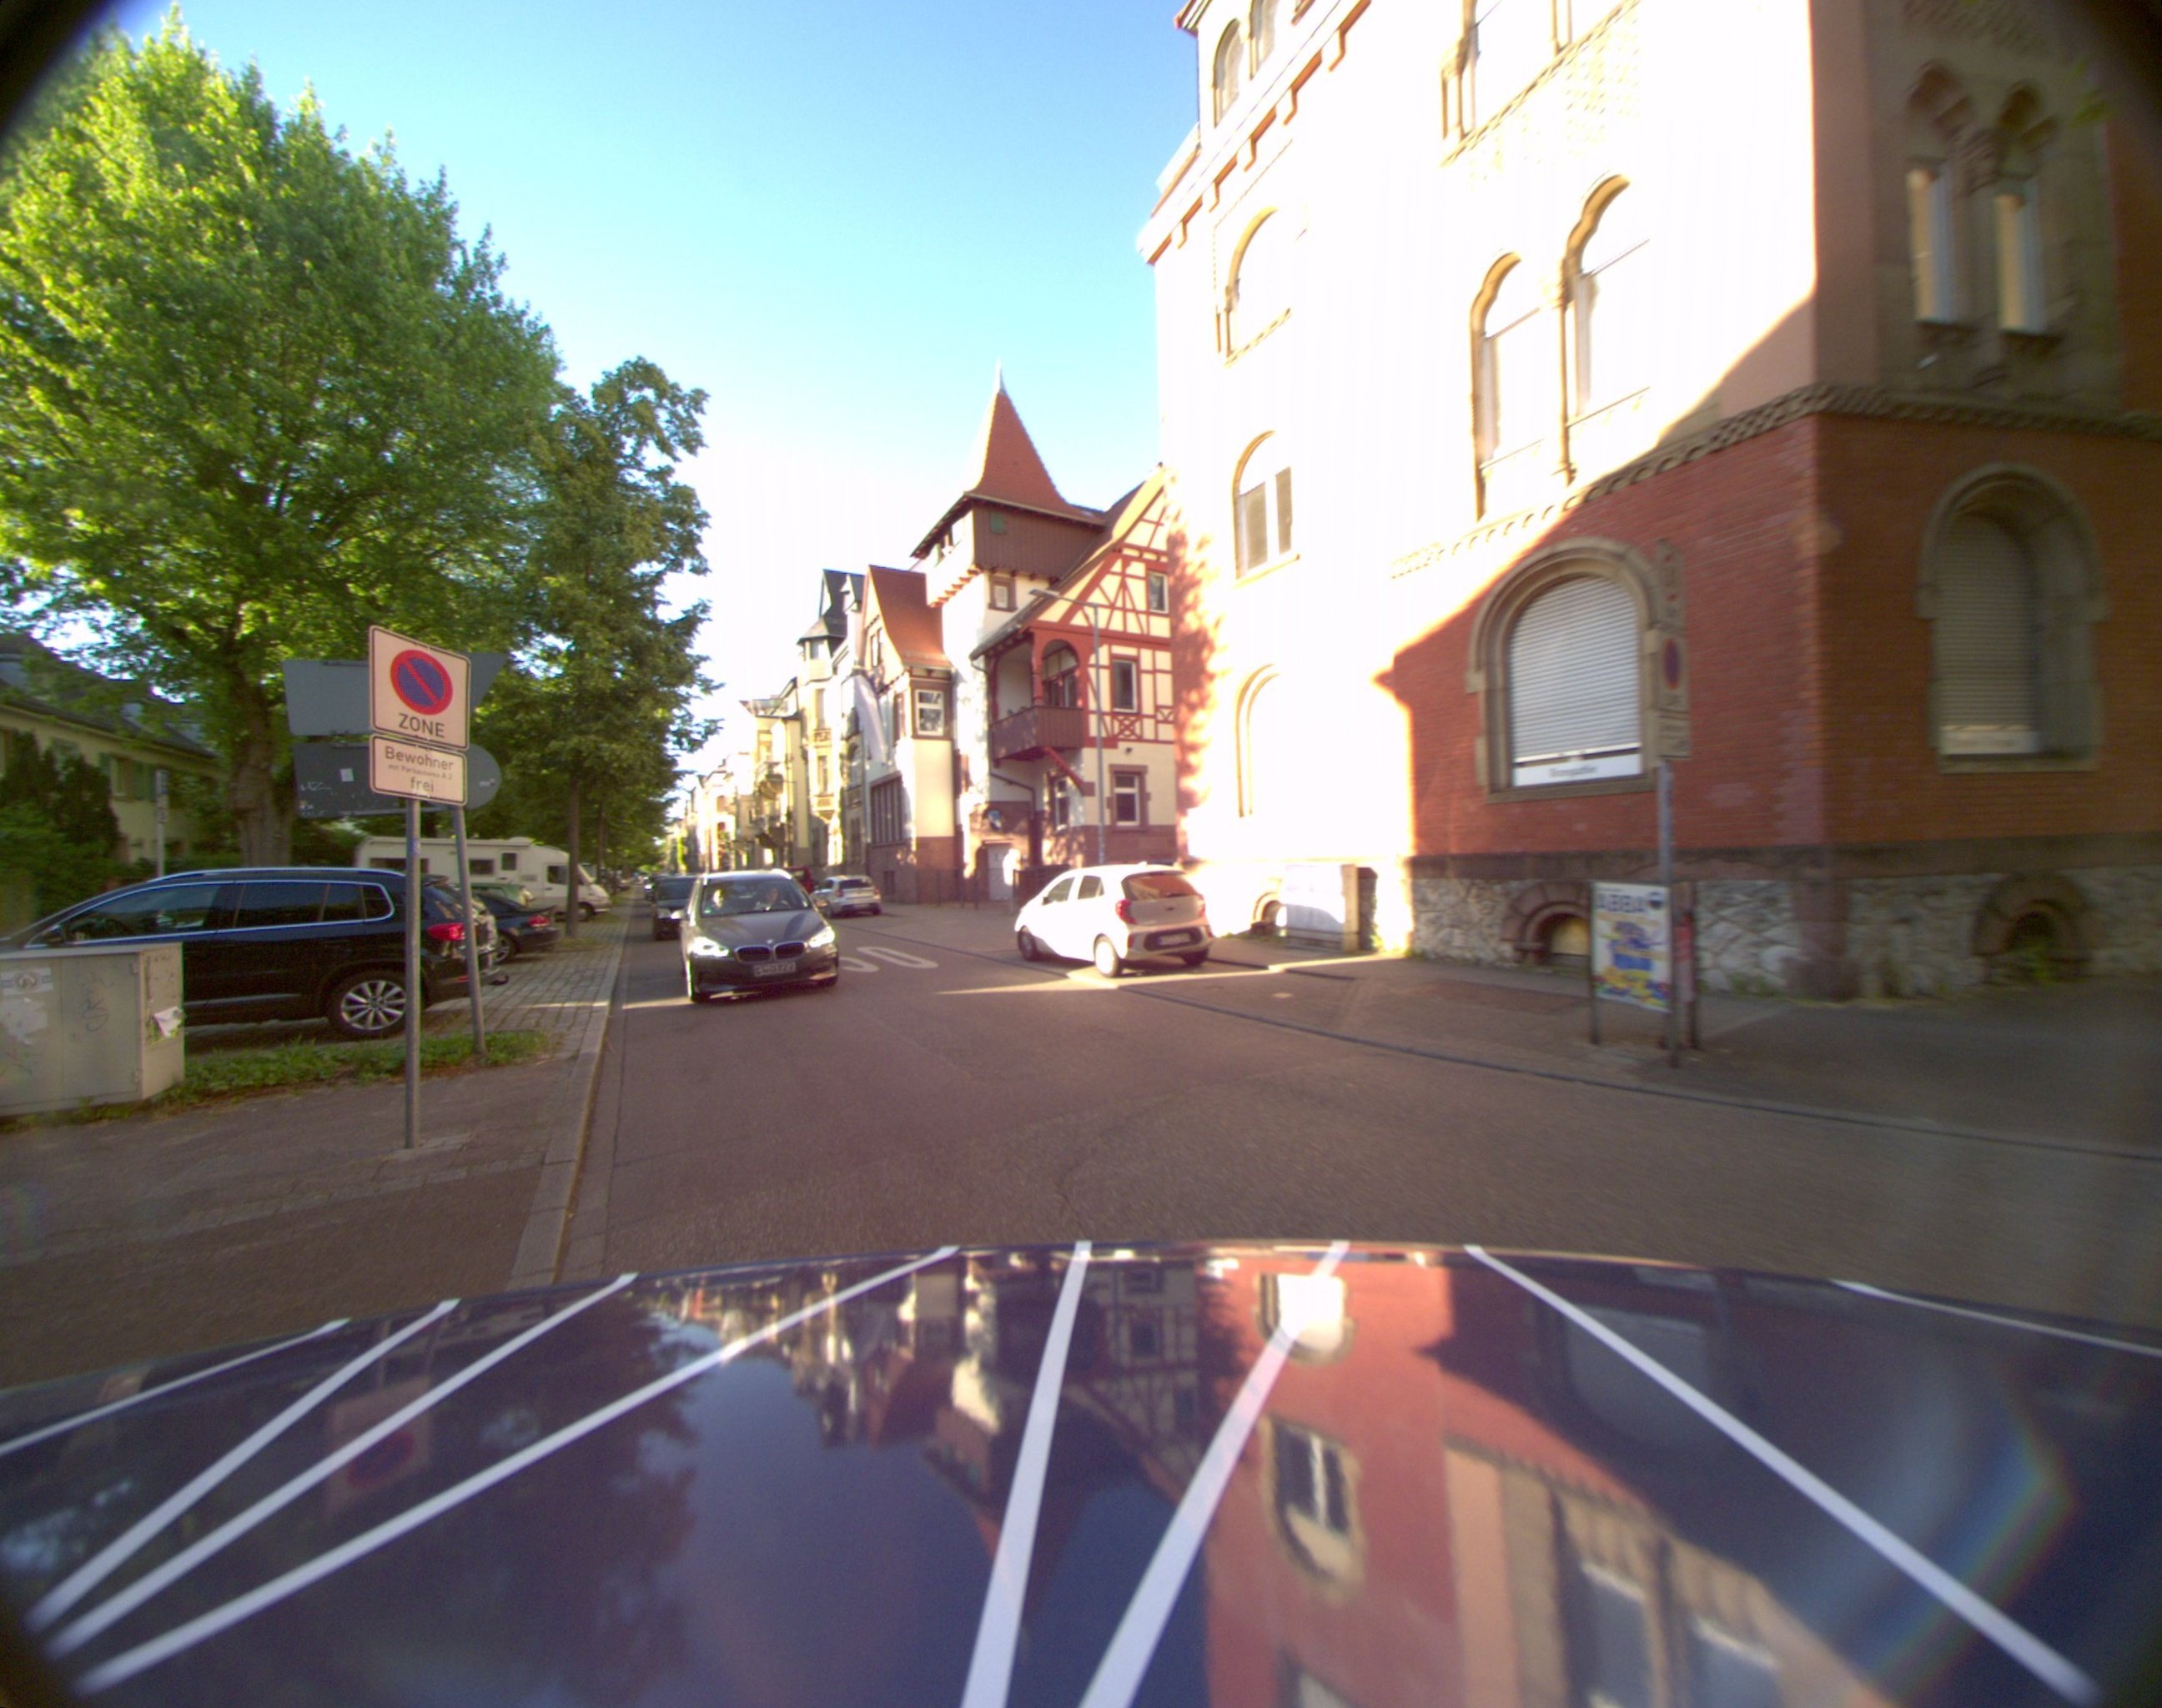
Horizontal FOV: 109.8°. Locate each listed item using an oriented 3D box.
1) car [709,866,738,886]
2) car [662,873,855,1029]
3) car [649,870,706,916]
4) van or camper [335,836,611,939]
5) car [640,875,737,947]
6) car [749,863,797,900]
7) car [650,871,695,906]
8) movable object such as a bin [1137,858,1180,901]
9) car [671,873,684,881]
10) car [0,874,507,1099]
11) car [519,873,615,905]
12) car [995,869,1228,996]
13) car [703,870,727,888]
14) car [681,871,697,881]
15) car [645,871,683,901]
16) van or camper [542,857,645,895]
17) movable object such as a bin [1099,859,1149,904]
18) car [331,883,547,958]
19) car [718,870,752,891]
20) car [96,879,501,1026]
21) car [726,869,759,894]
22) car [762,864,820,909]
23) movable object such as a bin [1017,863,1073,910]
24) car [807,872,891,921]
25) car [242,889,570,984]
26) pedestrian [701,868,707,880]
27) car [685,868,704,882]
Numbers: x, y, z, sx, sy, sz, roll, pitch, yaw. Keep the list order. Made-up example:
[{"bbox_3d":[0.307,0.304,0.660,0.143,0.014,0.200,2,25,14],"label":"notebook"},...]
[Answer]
[{"bbox_3d":[-31.220,1.897,66.262,1.697,1.458,3.764,-7,3,-32],"label":"car"},{"bbox_3d":[-4.792,1.136,10.858,1.928,1.597,4.507,-4,1,-30],"label":"car"},{"bbox_3d":[-17.420,1.623,32.730,2.003,1.744,3.991,-2,0,-30],"label":"car"},{"bbox_3d":[-20.524,1.015,26.301,7.111,3.059,2.459,-2,0,-32],"label":"van or camper"},{"bbox_3d":[-10.613,1.437,20.513,2.002,1.584,4.253,-4,1,-28],"label":"car"},{"bbox_3d":[-17.110,1.487,42.119,1.778,1.841,4.531,-3,1,-30],"label":"car"},{"bbox_3d":[-22.492,1.860,41.774,2.003,1.744,3.991,-2,0,-30],"label":"car"},{"bbox_3d":[2.504,0.797,24.514,1.206,1.302,0.629,-3,1,-28],"label":"movable object such as a bin"},{"bbox_3d":[-69.781,3.983,131.419,1.705,1.372,3.991,-2,0,-30],"label":"car"},{"bbox_3d":[-8.245,1.101,7.390,4.127,1.702,2.019,-1,-1,-34],"label":"car"},{"bbox_3d":[-28.651,1.916,42.565,4.354,1.599,1.923,0,0,-31],"label":"car"},{"bbox_3d":[0.284,1.033,11.616,1.713,1.477,3.788,-5,1,-30],"label":"car"},{"bbox_3d":[-34.837,2.352,72.342,1.751,1.457,3.989,-4,1,-29],"label":"car"},{"bbox_3d":[-58.819,3.287,114.006,1.926,1.510,3.991,-2,0,-30],"label":"car"},{"bbox_3d":[-26.990,2.021,49.136,2.003,1.744,3.991,-2,0,-30],"label":"car"},{"bbox_3d":[-41.943,1.852,65.668,7.282,2.887,2.422,-2,1,-30],"label":"van or camper"},{"bbox_3d":[1.363,0.852,23.917,1.386,1.310,0.685,-3,1,-37],"label":"movable object such as a bin"},{"bbox_3d":[-14.947,1.503,17.959,3.606,1.496,1.674,-1,-1,-29],"label":"car"},{"bbox_3d":[-27.897,2.126,61.174,1.909,1.431,4.531,-6,2,-30],"label":"car"},{"bbox_3d":[-11.016,1.287,11.111,3.710,1.641,1.700,-2,0,-26],"label":"car"},{"bbox_3d":[-23.826,1.903,53.393,1.691,1.501,2.854,-6,2,-30],"label":"car"},{"bbox_3d":[-13.856,1.491,36.128,1.806,1.896,4.314,-4,1,-30],"label":"car"},{"bbox_3d":[-1.077,0.958,22.638,1.381,1.291,0.967,-3,1,-20],"label":"movable object such as a bin"},{"bbox_3d":[-8.199,1.419,26.641,1.752,1.458,4.093,-3,1,-32],"label":"car"},{"bbox_3d":[-11.769,1.379,13.688,4.125,1.403,1.788,1,-1,-30],"label":"car"},{"bbox_3d":[-58.151,3.065,117.127,0.781,1.692,1.008,-2,0,-30],"label":"pedestrian"},{"bbox_3d":[-50.909,2.778,100.134,1.866,1.595,3.991,-5,1,-30],"label":"car"}]
